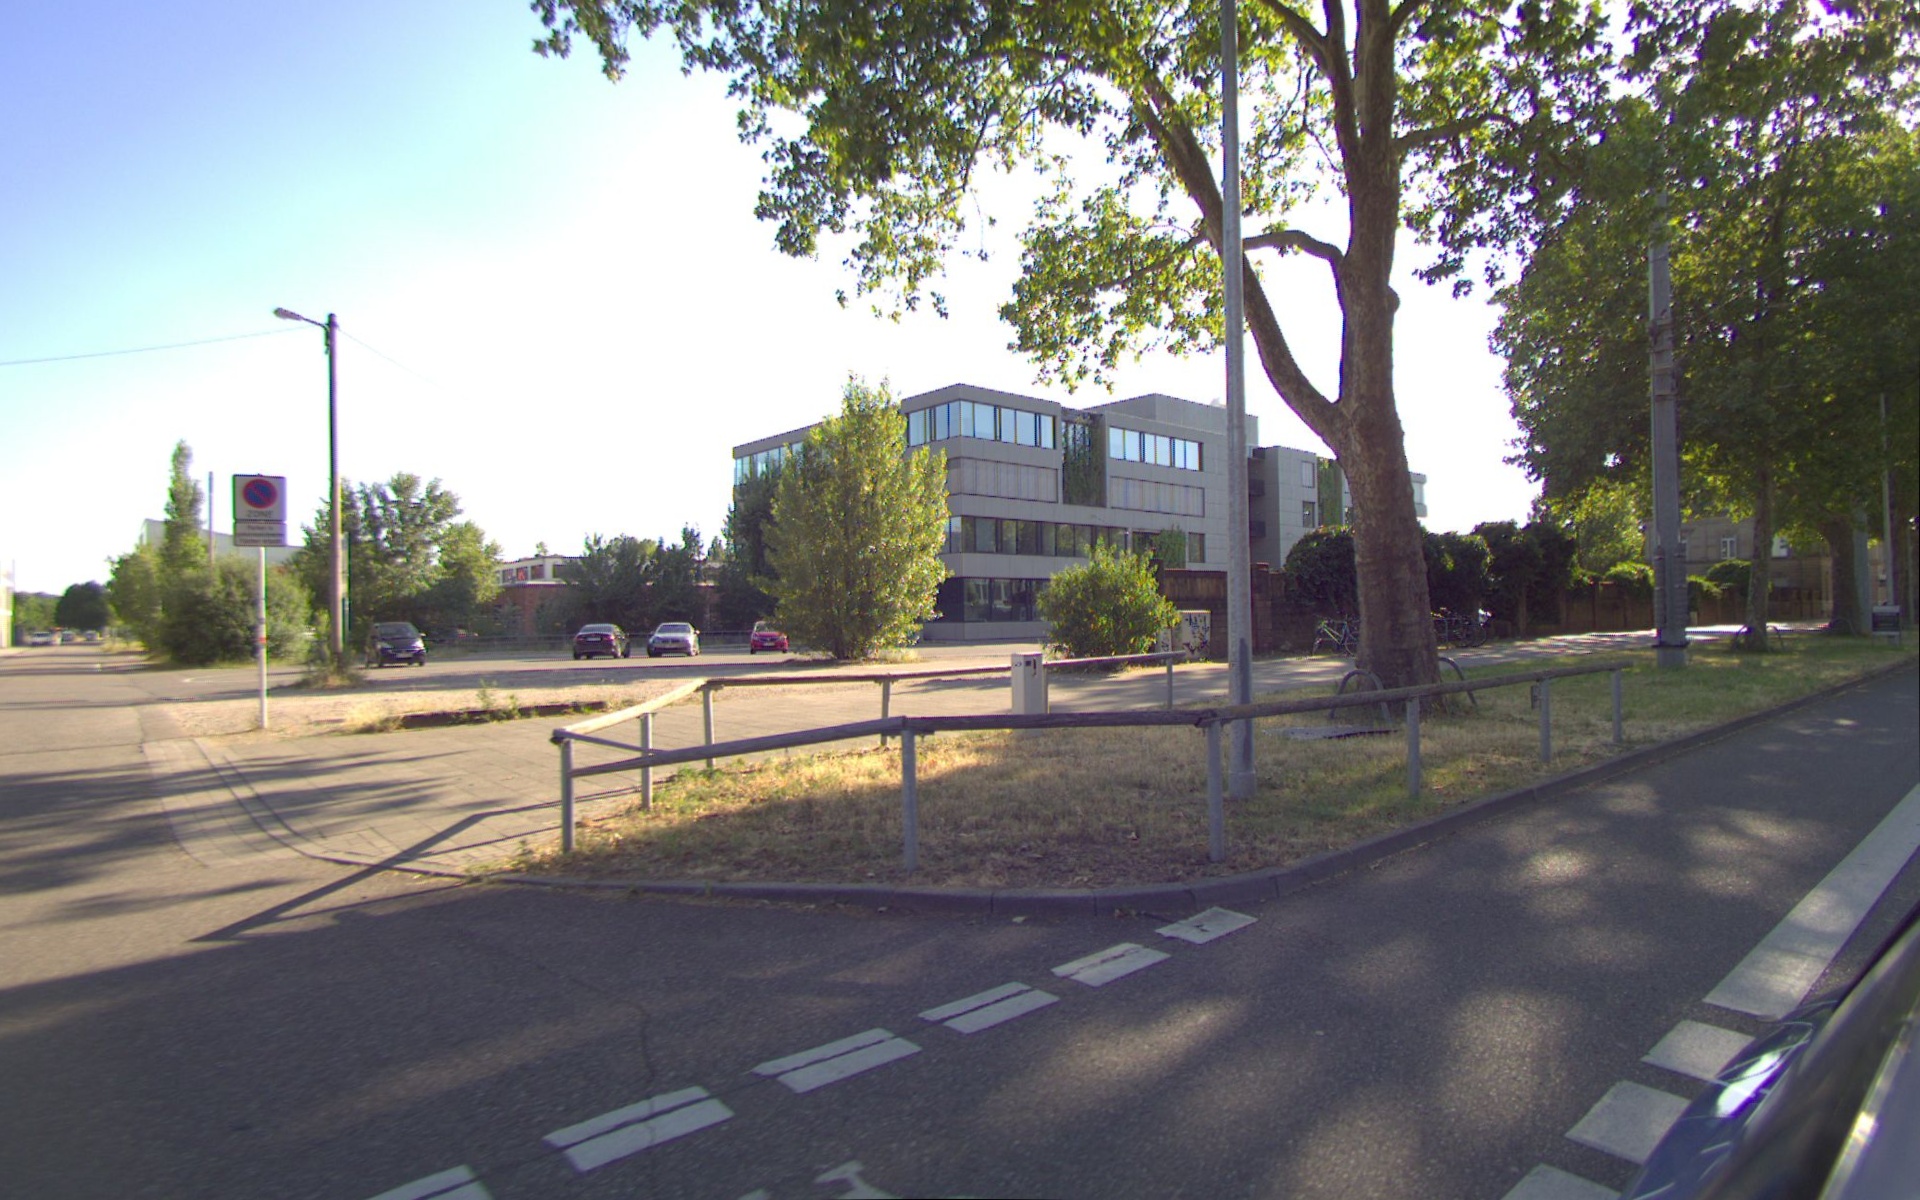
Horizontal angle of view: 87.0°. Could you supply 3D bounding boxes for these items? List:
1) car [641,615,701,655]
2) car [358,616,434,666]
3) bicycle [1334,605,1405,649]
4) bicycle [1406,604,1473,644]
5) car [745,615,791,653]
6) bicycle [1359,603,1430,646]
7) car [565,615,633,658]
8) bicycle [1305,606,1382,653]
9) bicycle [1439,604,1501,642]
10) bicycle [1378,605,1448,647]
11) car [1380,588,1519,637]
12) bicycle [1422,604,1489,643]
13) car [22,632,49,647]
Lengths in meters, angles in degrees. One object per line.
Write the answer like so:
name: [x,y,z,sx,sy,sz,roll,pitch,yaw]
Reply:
car: [-12.466,1.461,43.889,1.959,1.609,4.372,-1,-1,-9]
car: [-20.157,1.430,36.109,1.825,1.632,4.363,0,-1,-36]
bicycle: [10.999,0.710,27.230,0.432,1.134,1.776,0,0,-41]
bicycle: [14.181,0.688,29.958,0.432,1.134,1.776,0,0,-41]
car: [-8.889,1.534,47.074,1.844,1.632,4.371,-1,-1,-8]
bicycle: [11.881,0.652,27.710,0.432,1.134,1.776,0,0,-41]
car: [-14.845,1.462,41.857,1.821,1.632,4.371,-1,-1,-8]
bicycle: [9.624,0.723,25.435,1.772,1.134,0.433,0,0,43]
bicycle: [15.717,0.686,31.210,0.432,1.134,1.690,0,0,-41]
bicycle: [12.718,0.711,28.442,0.432,1.134,1.776,0,0,-41]
car: [21.961,0.592,45.590,1.965,2.008,5.269,0,-2,-41]
bicycle: [14.932,0.692,30.515,0.432,1.134,1.776,0,0,-41]
car: [-109.905,4.670,120.370,1.847,1.632,4.364,0,-1,-36]
